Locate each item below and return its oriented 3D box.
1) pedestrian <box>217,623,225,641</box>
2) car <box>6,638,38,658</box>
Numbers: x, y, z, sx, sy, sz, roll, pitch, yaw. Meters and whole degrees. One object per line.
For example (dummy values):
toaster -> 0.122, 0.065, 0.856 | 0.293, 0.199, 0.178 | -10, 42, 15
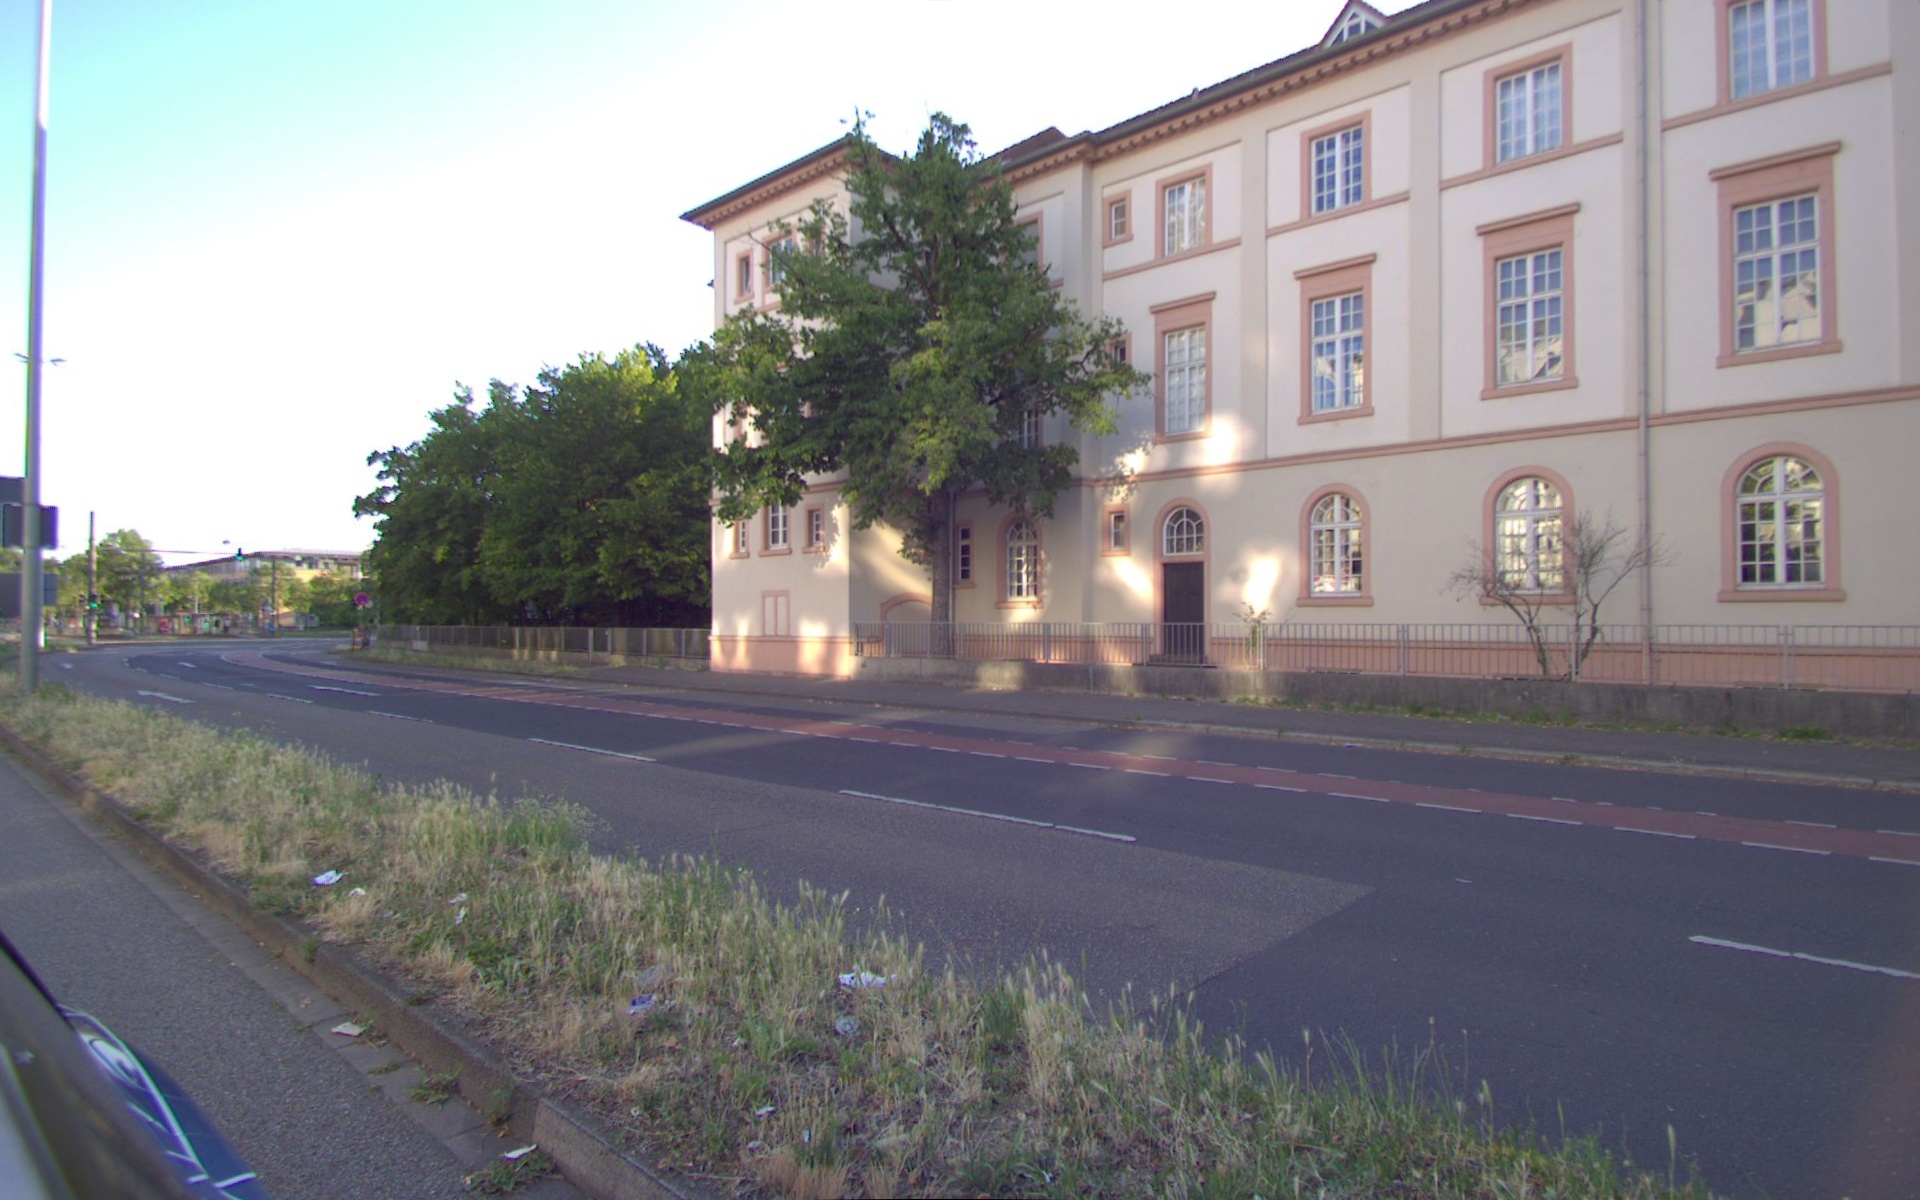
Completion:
pedestrian -> -85.687, 3.724, 117.327 | 0.664, 2.029, 0.549 | -2, -2, 41
car -> -74.771, 3.815, 80.717 | 1.650, 1.429, 4.447 | 0, -1, -40
